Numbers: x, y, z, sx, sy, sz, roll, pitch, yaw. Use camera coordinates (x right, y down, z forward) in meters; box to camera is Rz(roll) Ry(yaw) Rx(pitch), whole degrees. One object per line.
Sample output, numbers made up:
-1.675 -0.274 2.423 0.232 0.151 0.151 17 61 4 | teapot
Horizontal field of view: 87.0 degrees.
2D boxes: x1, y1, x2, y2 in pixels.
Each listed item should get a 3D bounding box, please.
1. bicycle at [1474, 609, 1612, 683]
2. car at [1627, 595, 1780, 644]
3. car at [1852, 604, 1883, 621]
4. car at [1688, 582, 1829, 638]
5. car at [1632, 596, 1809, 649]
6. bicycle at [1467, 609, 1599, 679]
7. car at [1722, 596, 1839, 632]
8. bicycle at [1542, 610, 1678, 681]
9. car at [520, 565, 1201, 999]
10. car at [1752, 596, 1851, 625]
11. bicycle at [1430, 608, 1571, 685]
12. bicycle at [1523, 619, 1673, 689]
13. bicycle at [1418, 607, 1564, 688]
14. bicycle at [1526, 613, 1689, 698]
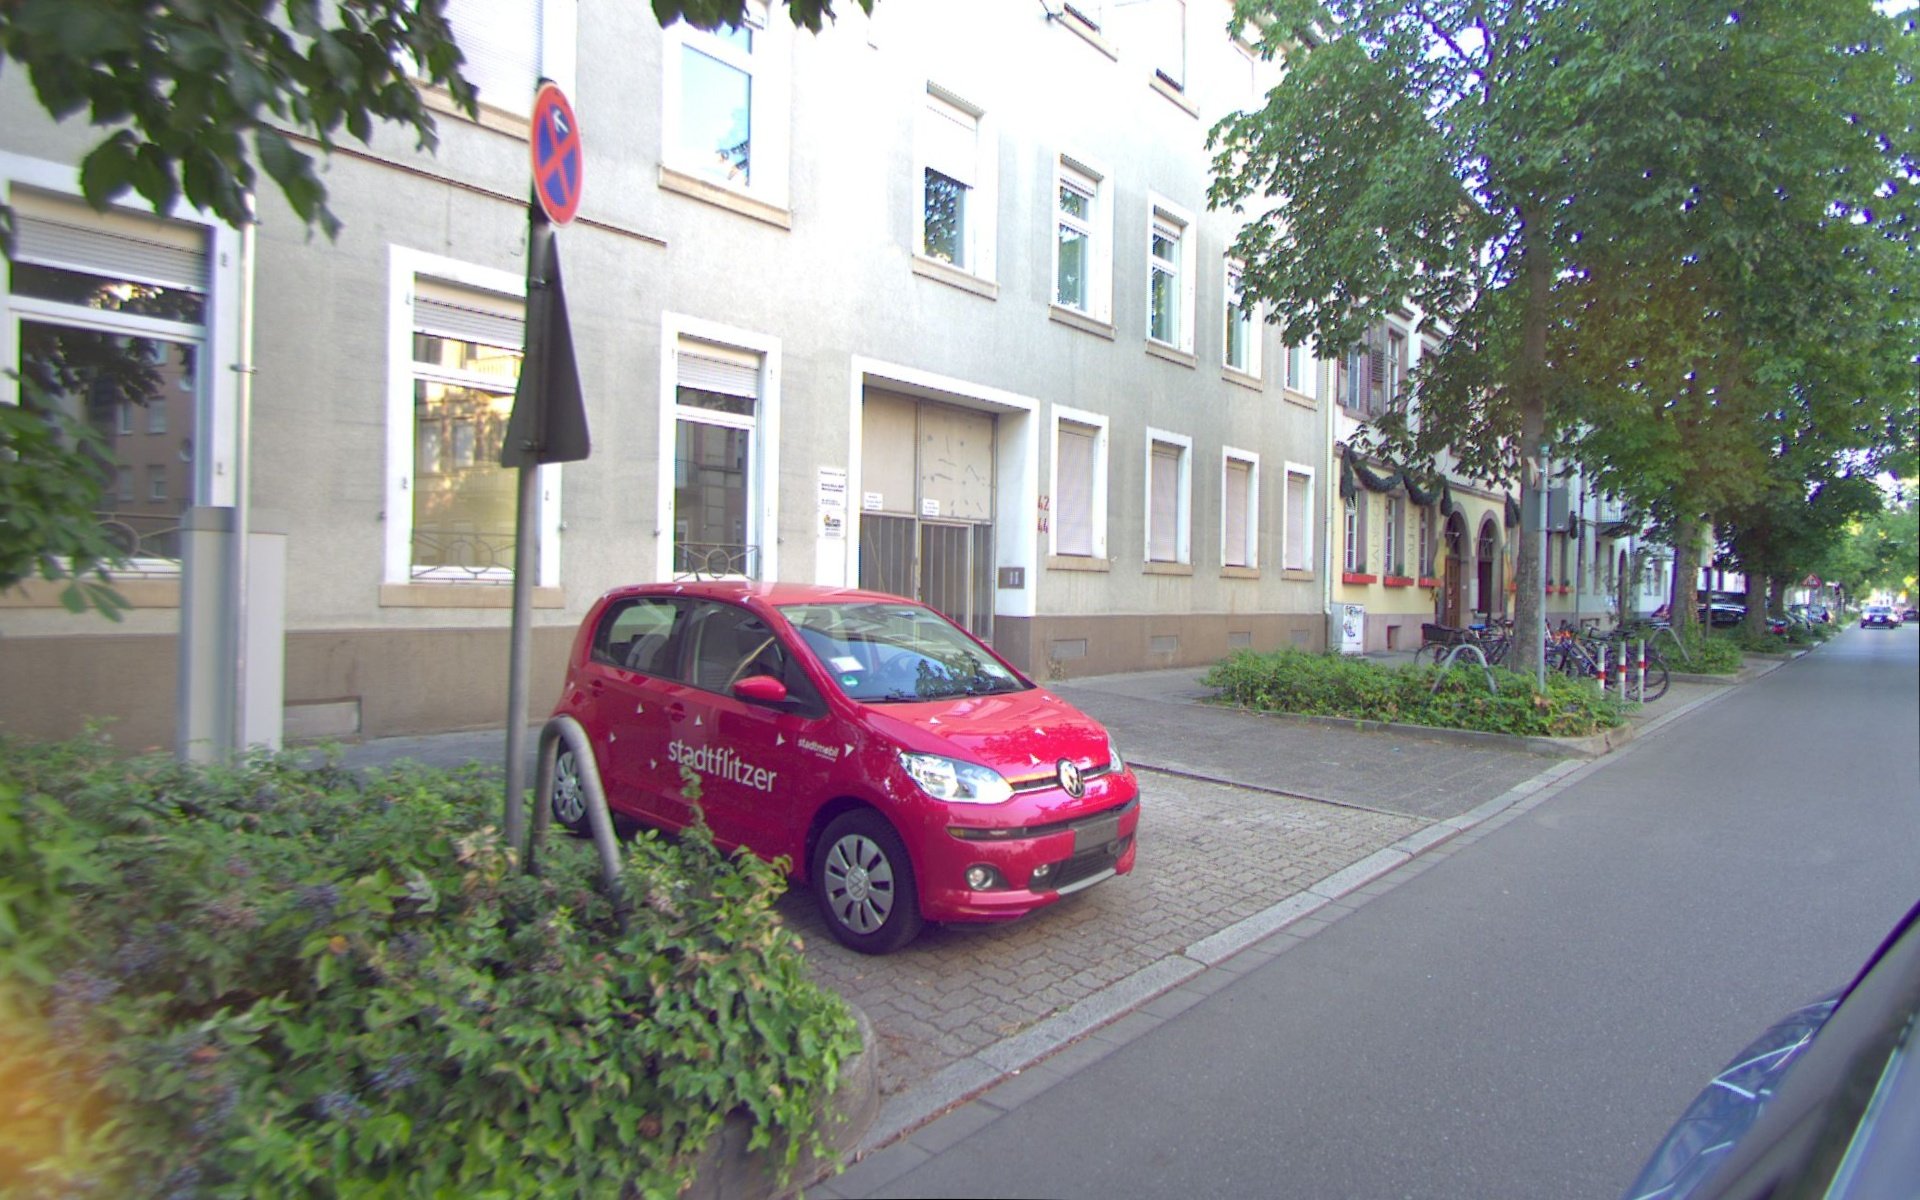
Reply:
10.166 0.771 17.706 2.035 1.160 0.415 2 1 43 | bicycle
27.803 0.688 37.942 1.748 1.633 4.434 1 1 -45 | car
75.204 1.018 83.839 1.822 1.389 3.937 2 1 43 | car
33.233 0.372 42.205 1.748 2.150 4.434 1 1 -45 | car
24.861 0.681 33.190 1.748 1.524 4.434 1 1 -45 | car
10.381 0.773 18.385 2.035 1.160 0.415 2 1 43 | bicycle
41.309 0.685 51.005 1.748 1.633 4.434 1 1 -45 | car
11.830 0.798 18.470 2.035 1.160 0.415 2 1 43 | bicycle
-0.752 0.600 5.384 3.654 1.494 1.542 3 2 42 | car
50.408 0.612 60.671 1.748 1.633 4.434 1 1 -45 | car
9.066 0.749 17.048 2.035 1.160 0.415 2 1 43 | bicycle
10.478 0.858 16.686 2.035 1.016 0.415 2 1 43 | bicycle
8.474 0.724 16.225 0.439 1.160 2.038 1 1 -42 | bicycle
9.883 0.818 15.518 2.036 1.160 0.439 2 1 45 | bicycle
